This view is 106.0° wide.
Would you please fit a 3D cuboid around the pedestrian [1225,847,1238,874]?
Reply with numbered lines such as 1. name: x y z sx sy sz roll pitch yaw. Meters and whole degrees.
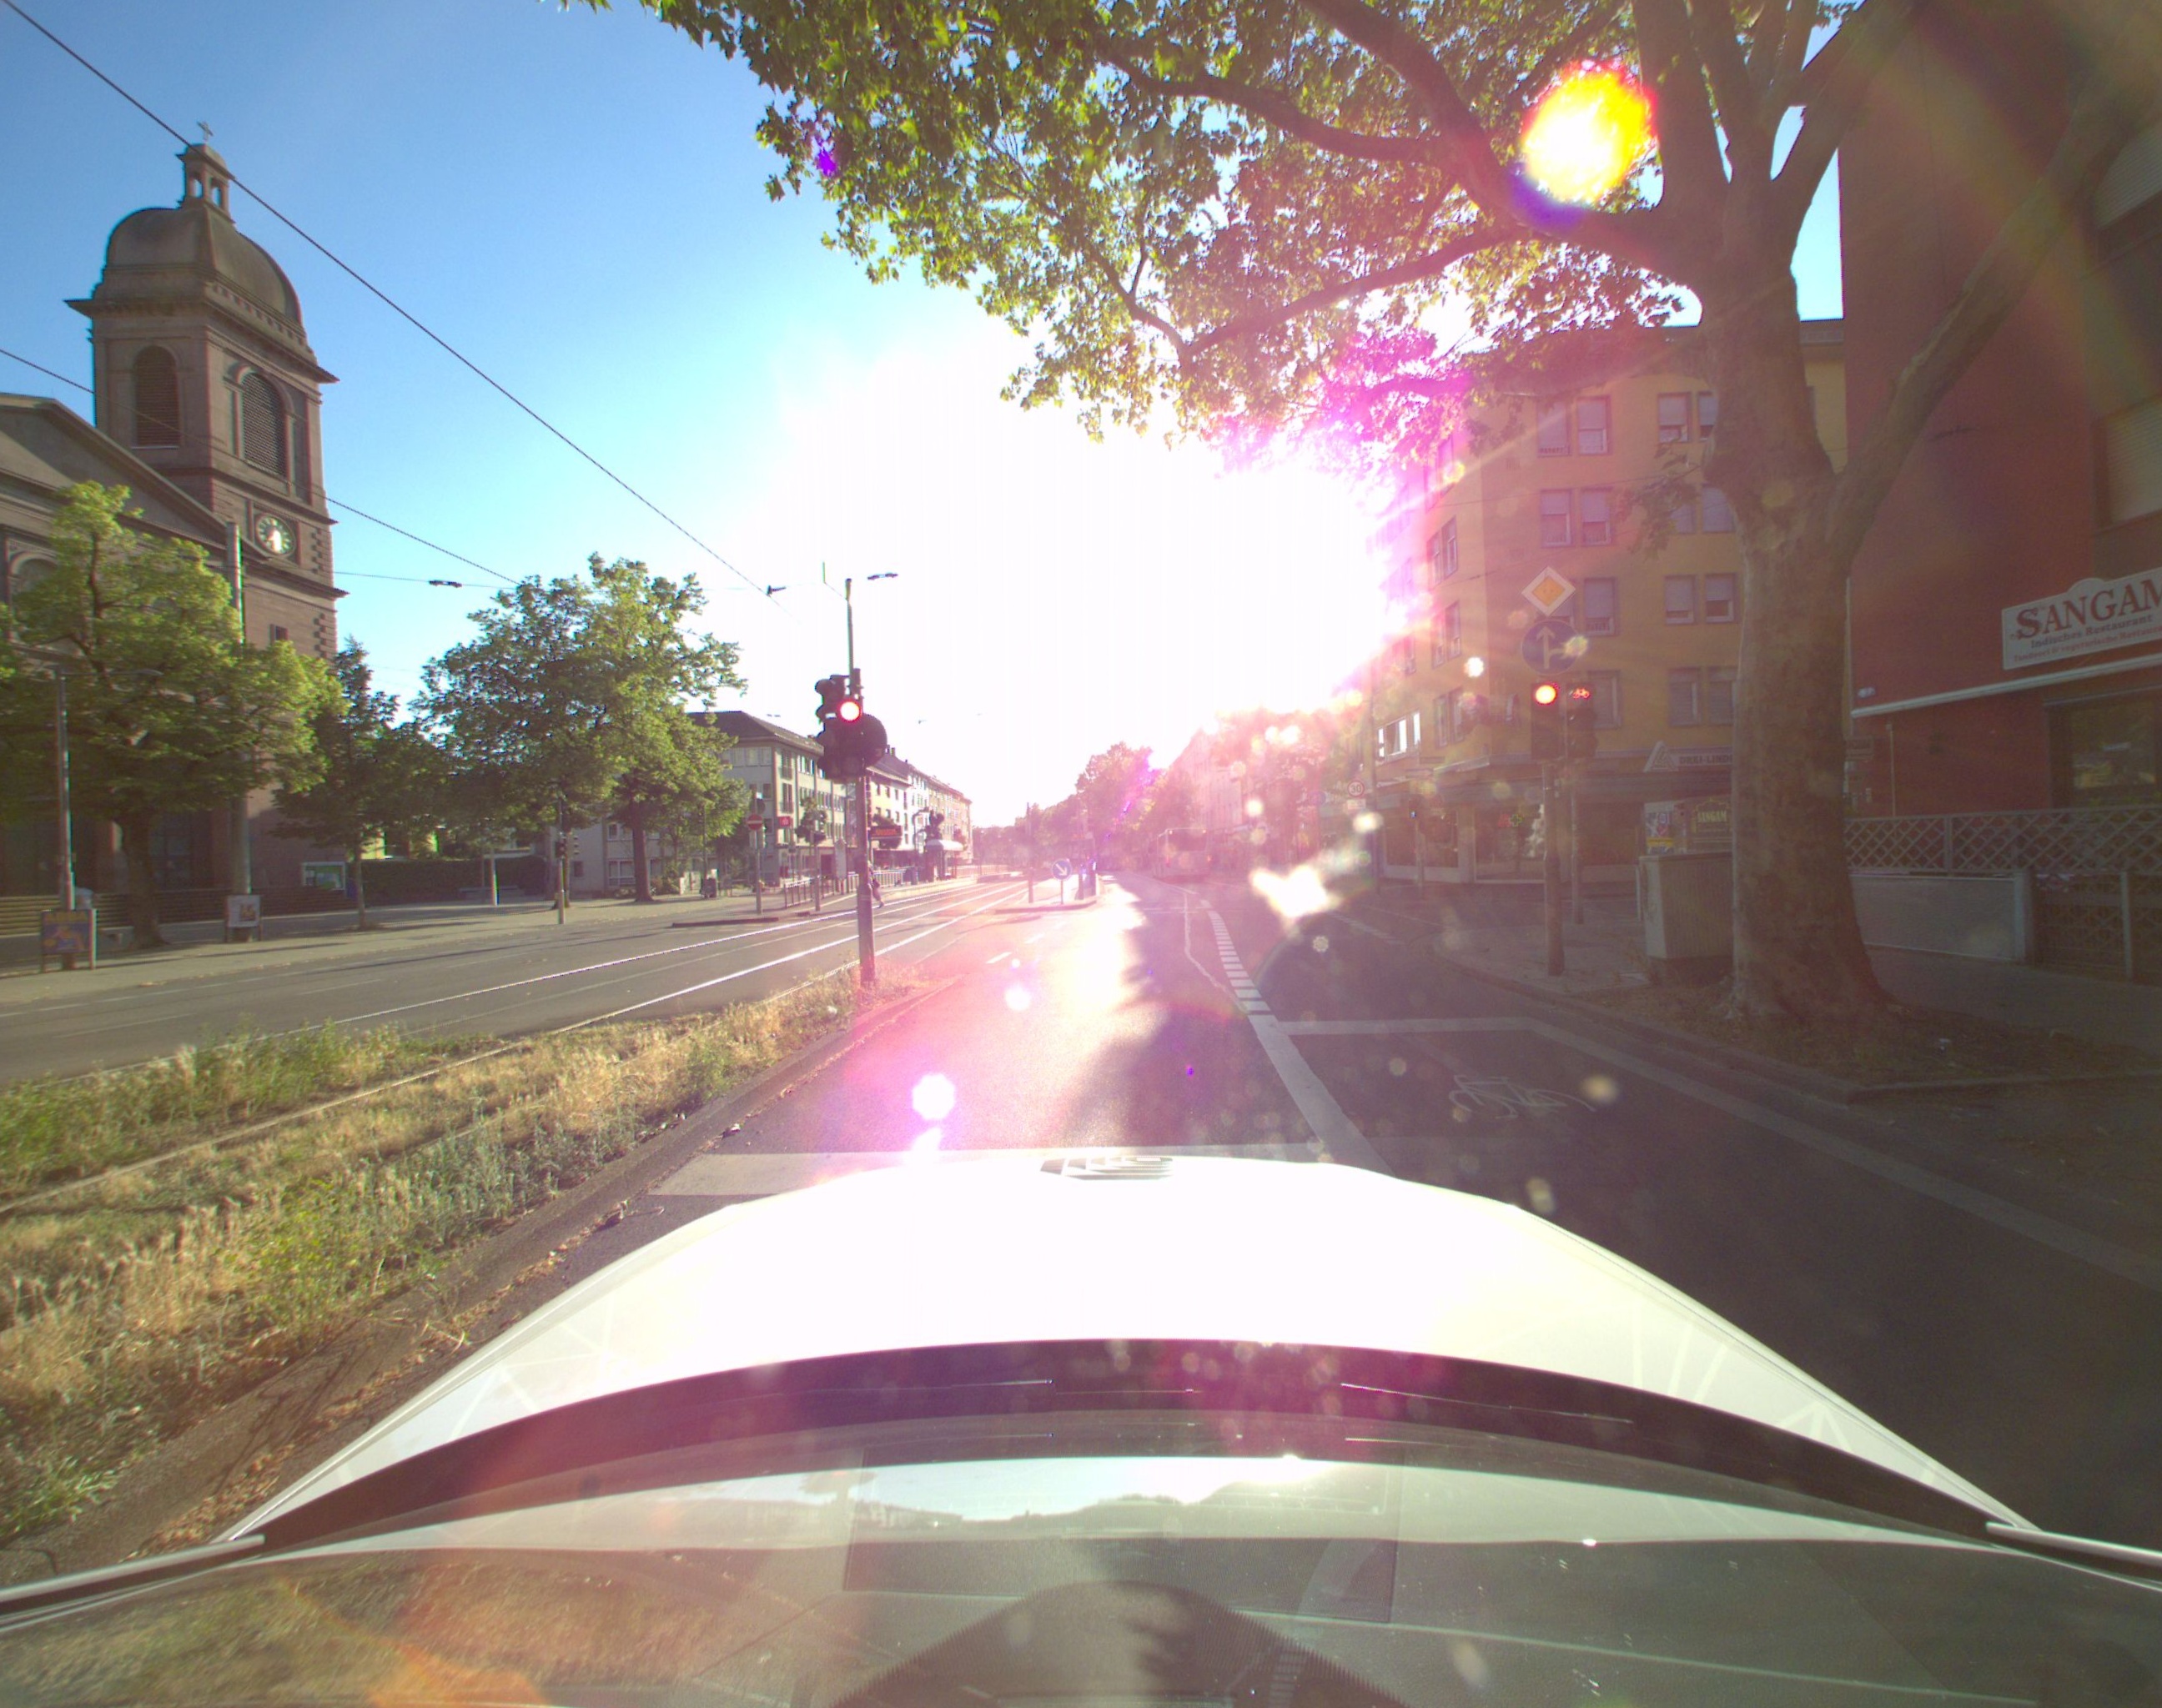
1. pedestrian: 10.299 0.457 55.728 0.721 1.779 0.766 -2 -1 1

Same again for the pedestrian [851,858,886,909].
1. pedestrian: -7.604 1.034 29.179 0.915 1.760 0.833 -2 -1 2

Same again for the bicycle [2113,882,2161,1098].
1. bicycle: 5.662 0.751 3.630 0.613 1.111 1.812 -3 1 28

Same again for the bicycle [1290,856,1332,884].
1. bicycle: 8.940 0.617 31.695 1.479 1.008 0.454 -2 0 -2

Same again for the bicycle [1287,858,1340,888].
1. bicycle: 8.874 0.710 31.118 1.793 1.008 0.540 -4 -1 -3

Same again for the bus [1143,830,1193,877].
1. bus: 6.210 -0.023 59.358 2.687 3.118 9.070 -1 0 1

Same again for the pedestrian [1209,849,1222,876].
1. pedestrian: 9.044 0.577 54.811 0.721 1.807 0.766 -2 -1 1

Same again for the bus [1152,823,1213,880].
1. bus: 6.067 -0.086 50.168 2.687 3.118 9.382 -1 0 1

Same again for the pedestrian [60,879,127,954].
1. pedestrian: -24.151 1.518 19.929 0.734 1.765 0.692 -2 0 1

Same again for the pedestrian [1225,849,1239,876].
1. pedestrian: 9.949 0.561 53.768 0.721 1.723 0.766 -2 -1 1

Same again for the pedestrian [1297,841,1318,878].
1. pedestrian: 11.066 0.273 39.848 0.741 1.780 0.895 -2 -1 1

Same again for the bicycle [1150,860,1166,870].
1. bicycle: 9.536 1.389 100.891 1.879 1.077 0.755 -6 -1 4
